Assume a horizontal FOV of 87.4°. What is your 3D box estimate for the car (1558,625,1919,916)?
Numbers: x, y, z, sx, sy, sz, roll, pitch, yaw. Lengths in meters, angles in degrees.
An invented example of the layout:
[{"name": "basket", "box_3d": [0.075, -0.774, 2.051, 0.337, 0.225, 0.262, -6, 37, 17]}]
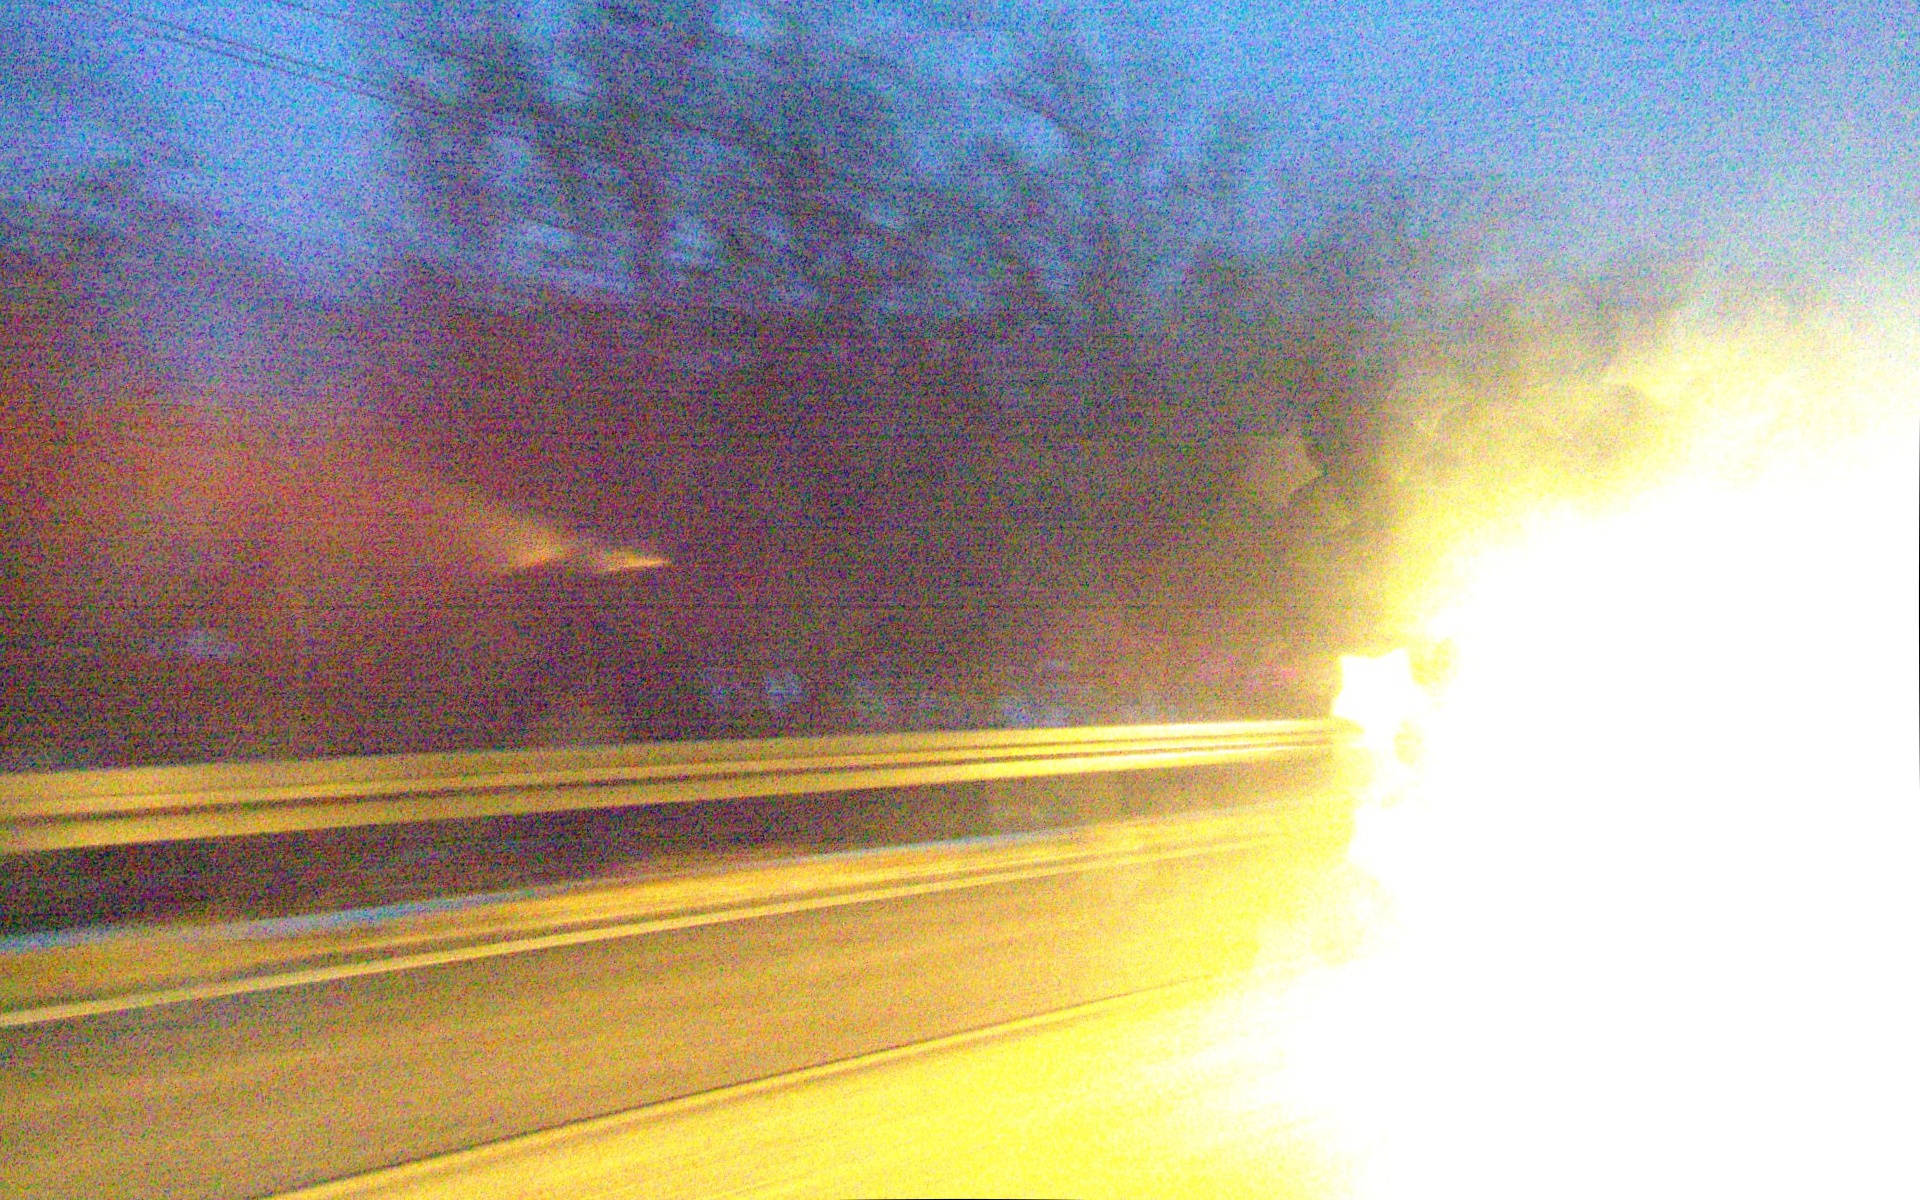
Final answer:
[{"name": "car", "box_3d": [6.174, 0.946, 6.880, 4.054, 1.476, 1.983, 2, -2, -32]}]
